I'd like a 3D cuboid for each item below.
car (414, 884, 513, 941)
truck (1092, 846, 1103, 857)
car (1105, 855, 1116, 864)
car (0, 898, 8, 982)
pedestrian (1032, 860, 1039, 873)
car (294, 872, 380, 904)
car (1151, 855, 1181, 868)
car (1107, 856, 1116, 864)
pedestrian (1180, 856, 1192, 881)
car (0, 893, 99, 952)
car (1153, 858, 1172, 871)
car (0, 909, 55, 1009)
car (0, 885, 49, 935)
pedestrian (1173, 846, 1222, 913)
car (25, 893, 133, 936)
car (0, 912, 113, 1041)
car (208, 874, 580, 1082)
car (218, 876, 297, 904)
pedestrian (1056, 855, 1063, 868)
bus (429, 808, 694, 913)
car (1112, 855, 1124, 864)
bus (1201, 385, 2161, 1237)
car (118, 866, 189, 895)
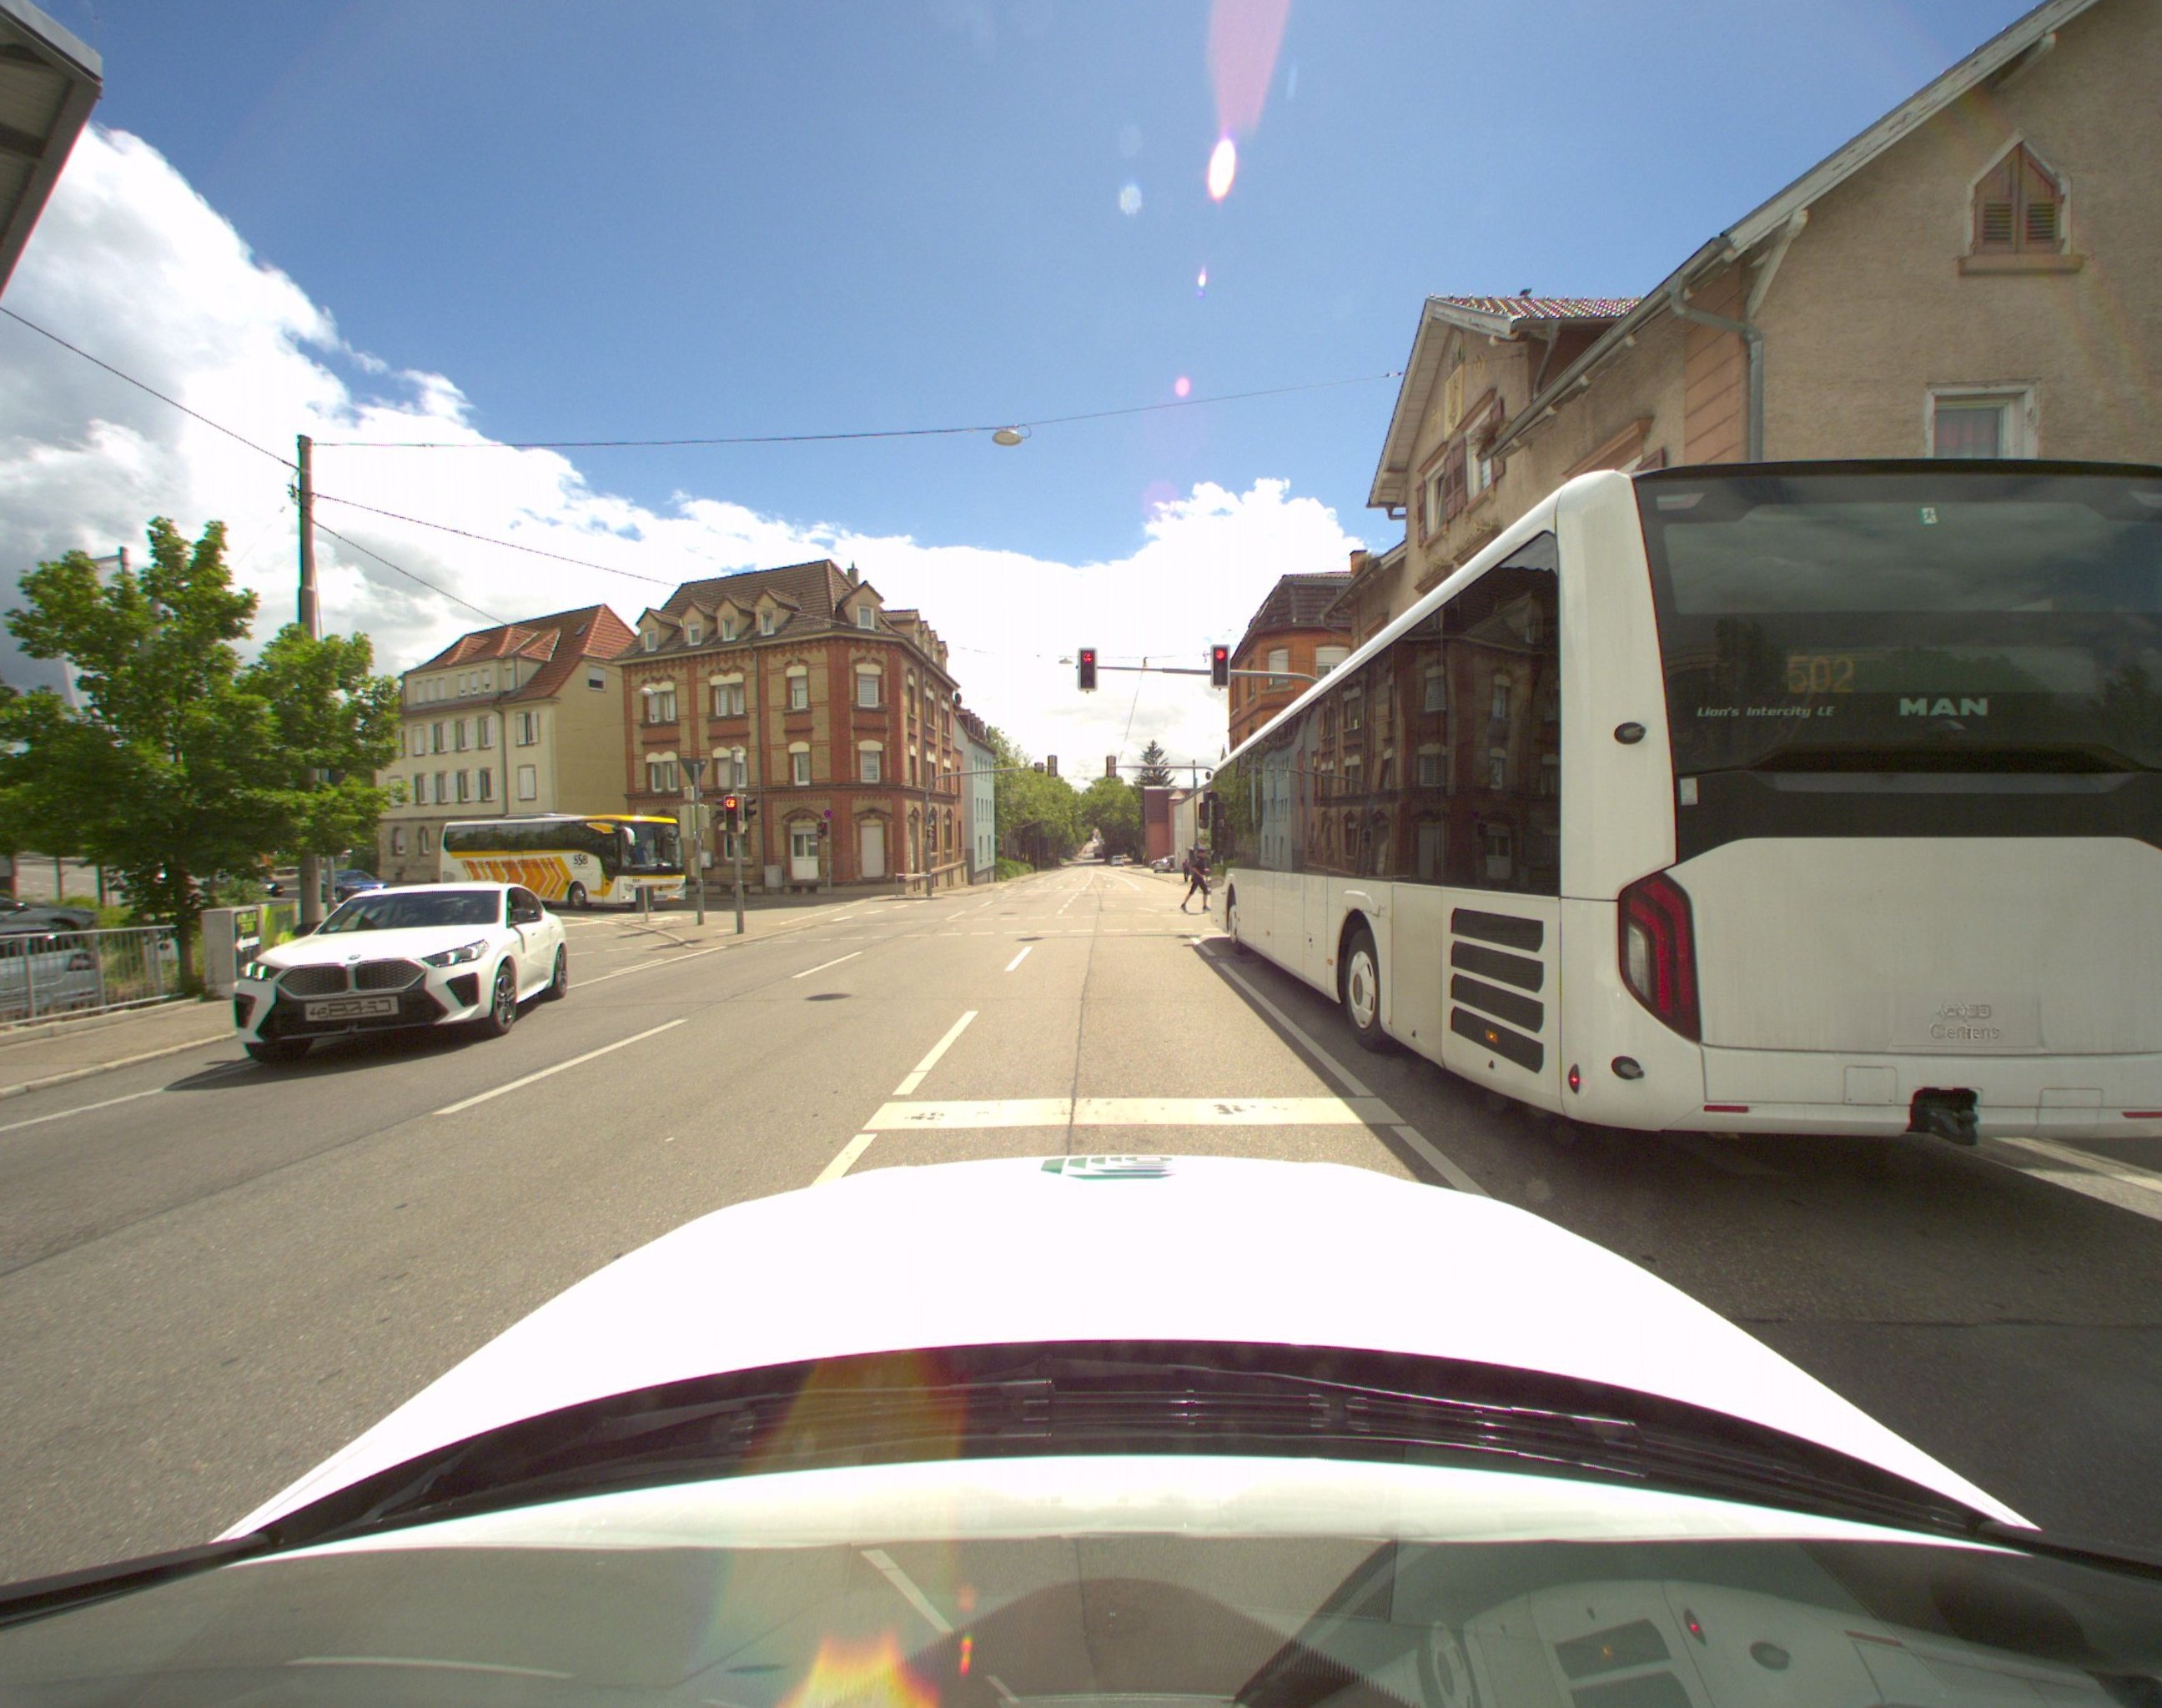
[{"bbox_3d":[-17.507,1.603,23.032,1.894,1.418,3.577,3,-3,-42],"label":"car"},{"bbox_3d":[4.699,-0.634,231.313,2.917,3.081,7.883,-2,0,0],"label":"truck"},{"bbox_3d":[5.304,0.982,145.949,1.787,1.409,4.421,-1,0,3],"label":"car"},{"bbox_3d":[-23.537,1.765,16.497,3.455,1.680,1.663,-1,2,30],"label":"car"},{"bbox_3d":[-5.418,1.481,96.963,0.727,1.565,0.561,-1,-1,0],"label":"pedestrian"},{"bbox_3d":[-35.011,1.595,38.300,3.949,1.409,1.762,-2,0,28],"label":"car"},{"bbox_3d":[11.784,1.040,113.075,3.978,1.757,1.998,-2,0,-3],"label":"car"},{"bbox_3d":[5.778,1.120,154.365,1.787,1.409,4.421,-1,0,3],"label":"car"},{"bbox_3d":[7.608,1.058,59.209,0.736,1.750,0.619,-2,0,1],"label":"pedestrian"},{"bbox_3d":[-29.587,1.896,22.101,1.777,1.477,3.522,-2,0,32],"label":"car"},{"bbox_3d":[9.234,1.172,93.020,1.788,1.409,4.000,-2,0,1],"label":"car"},{"bbox_3d":[-19.678,1.846,14.210,3.455,1.526,1.626,-1,2,29],"label":"car"},{"bbox_3d":[-36.191,1.859,25.778,1.785,1.553,4.023,-2,0,25],"label":"car"},{"bbox_3d":[3.143,0.678,22.006,1.138,1.734,0.758,-2,0,-3],"label":"pedestrian"},{"bbox_3d":[-37.728,2.239,30.668,3.456,1.448,1.811,-2,0,26],"label":"car"},{"bbox_3d":[-16.033,1.766,12.065,3.321,1.560,1.692,0,2,32],"label":"car"},{"bbox_3d":[-7.023,1.066,8.962,1.835,1.552,4.274,-3,0,-22],"label":"car"},{"bbox_3d":[-43.740,1.903,43.272,3.949,1.409,1.923,-2,0,29],"label":"car"},{"bbox_3d":[-3.415,1.238,128.926,0.991,2.013,1.189,-2,0,1],"label":"pedestrian"},{"bbox_3d":[-20.499,0.318,31.754,12.110,3.621,2.788,-1,0,26],"label":"bus"},{"bbox_3d":[5.885,0.942,129.343,1.787,1.409,4.002,-1,0,2],"label":"car"},{"bbox_3d":[3.447,-0.149,9.302,2.662,3.155,12.467,-2,0,2],"label":"bus"},{"bbox_3d":[-53.611,1.531,47.072,3.949,1.554,1.923,-2,0,29],"label":"car"}]
